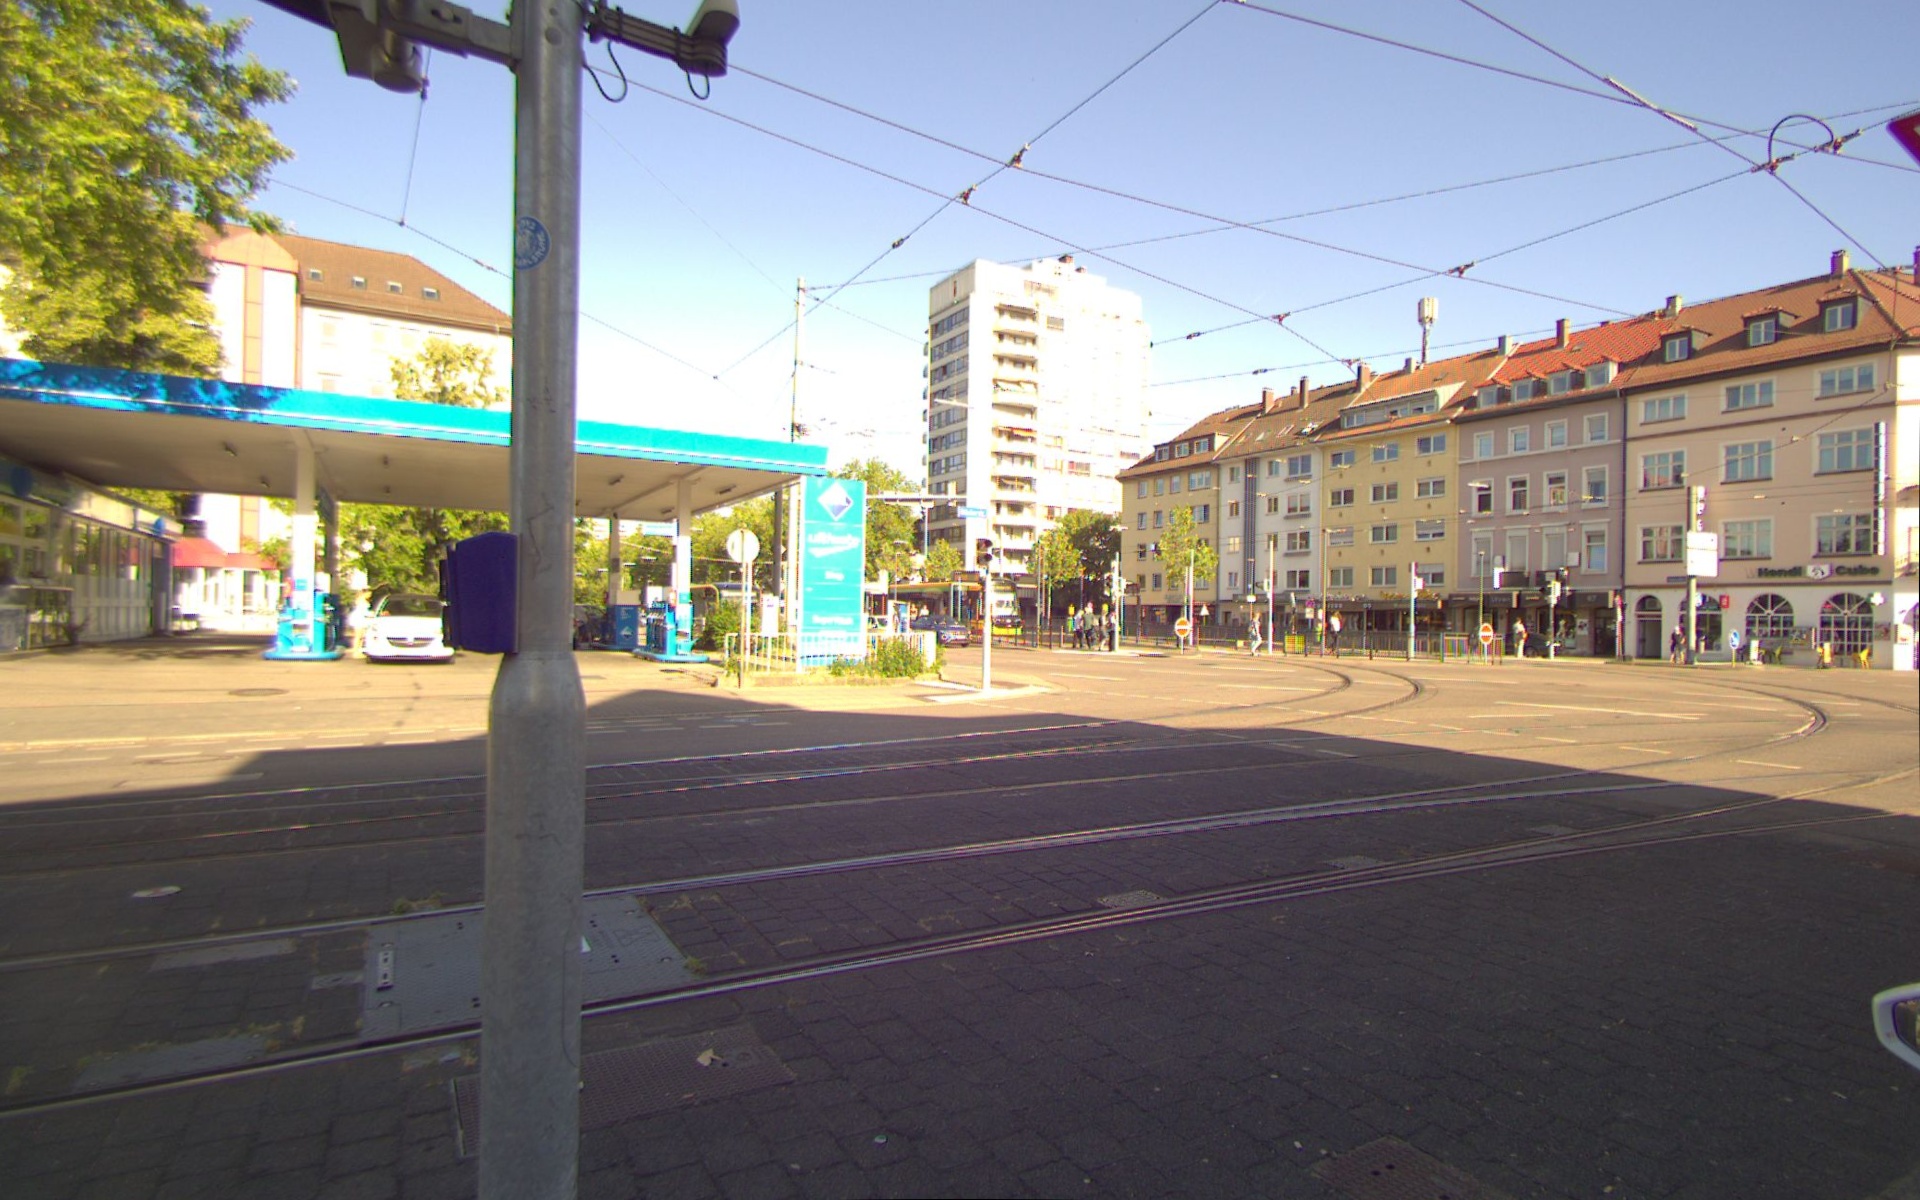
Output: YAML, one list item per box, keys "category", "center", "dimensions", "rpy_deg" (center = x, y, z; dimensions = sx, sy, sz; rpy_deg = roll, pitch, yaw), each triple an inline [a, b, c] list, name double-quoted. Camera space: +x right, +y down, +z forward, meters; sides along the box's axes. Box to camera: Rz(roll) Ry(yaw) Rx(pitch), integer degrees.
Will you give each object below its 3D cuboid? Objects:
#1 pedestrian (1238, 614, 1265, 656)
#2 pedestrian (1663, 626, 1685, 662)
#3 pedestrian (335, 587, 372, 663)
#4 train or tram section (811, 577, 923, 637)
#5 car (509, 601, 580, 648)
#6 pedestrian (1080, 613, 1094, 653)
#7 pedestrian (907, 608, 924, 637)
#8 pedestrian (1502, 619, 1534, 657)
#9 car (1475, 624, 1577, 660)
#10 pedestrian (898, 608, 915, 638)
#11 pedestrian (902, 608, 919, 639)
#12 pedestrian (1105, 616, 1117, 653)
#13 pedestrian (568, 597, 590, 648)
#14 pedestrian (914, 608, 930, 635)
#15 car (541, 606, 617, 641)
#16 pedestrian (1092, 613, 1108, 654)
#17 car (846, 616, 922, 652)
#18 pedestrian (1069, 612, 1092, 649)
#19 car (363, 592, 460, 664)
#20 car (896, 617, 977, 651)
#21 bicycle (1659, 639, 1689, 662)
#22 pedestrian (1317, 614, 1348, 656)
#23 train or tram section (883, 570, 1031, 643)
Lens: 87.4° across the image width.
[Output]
- category: "pedestrian"
  center: [11.269, 1.348, 38.878]
  dimensions: [0.817, 1.598, 0.552]
  rpy_deg: [2, 0, -2]
- category: "pedestrian"
  center: [34.224, 2.128, 48.136]
  dimensions: [0.743, 1.692, 0.579]
  rpy_deg: [2, 0, -30]
- category: "pedestrian"
  center: [-13.890, 0.570, 23.022]
  dimensions: [0.640, 1.724, 0.497]
  rpy_deg: [1, -1, -26]
- category: "train or tram section"
  center: [-6.870, 0.517, 71.145]
  dimensions: [2.907, 3.864, 12.719]
  rpy_deg: [1, -1, -30]
- category: "car"
  center: [-13.548, 0.784, 32.678]
  dimensions: [1.737, 1.461, 3.543]
  rpy_deg: [1, -1, -29]
- category: "pedestrian"
  center: [5.500, 1.439, 43.499]
  dimensions: [0.548, 1.702, 0.761]
  rpy_deg: [1, -1, 6]
- category: "pedestrian"
  center: [-2.635, 1.329, 59.747]
  dimensions: [0.747, 1.756, 0.797]
  rpy_deg: [0, 0, -28]
- category: "pedestrian"
  center: [24.448, 1.668, 44.008]
  dimensions: [0.821, 1.598, 0.847]
  rpy_deg: [2, 0, -20]
- category: "car"
  center: [30.826, 2.290, 54.846]
  dimensions: [2.277, 1.734, 4.350]
  rpy_deg: [2, 0, -27]
- category: "pedestrian"
  center: [-3.154, 1.369, 59.218]
  dimensions: [0.747, 1.756, 0.797]
  rpy_deg: [0, 0, -28]
- category: "pedestrian"
  center: [-2.856, 1.341, 58.168]
  dimensions: [0.747, 1.756, 0.797]
  rpy_deg: [0, 0, -28]
- category: "pedestrian"
  center: [6.154, 1.405, 40.967]
  dimensions: [0.472, 1.525, 0.462]
  rpy_deg: [0, 0, 6]
- category: "pedestrian"
  center: [-13.051, 0.781, 34.401]
  dimensions: [0.491, 1.724, 0.499]
  rpy_deg: [0, -1, 33]
- category: "pedestrian"
  center: [-2.237, 1.243, 58.944]
  dimensions: [0.607, 1.598, 0.827]
  rpy_deg: [0, 0, -27]
- category: "car"
  center: [-16.860, 1.042, 44.603]
  dimensions: [1.722, 1.461, 3.572]
  rpy_deg: [1, -1, 5]
- category: "pedestrian"
  center: [5.856, 1.392, 41.966]
  dimensions: [0.626, 1.666, 0.462]
  rpy_deg: [0, 0, 6]
- category: "car"
  center: [-3.587, 1.552, 46.738]
  dimensions: [1.871, 1.550, 3.963]
  rpy_deg: [1, -1, -33]
- category: "pedestrian"
  center: [5.312, 1.335, 44.350]
  dimensions: [0.867, 1.598, 0.665]
  rpy_deg: [2, 0, -2]
- category: "car"
  center: [-12.197, 0.604, 22.351]
  dimensions: [1.737, 1.461, 3.543]
  rpy_deg: [1, -1, -29]
- category: "car"
  center: [-1.160, 1.616, 48.368]
  dimensions: [1.875, 1.550, 3.955]
  rpy_deg: [1, -2, -39]
- category: "bicycle"
  center: [34.222, 2.424, 48.139]
  dimensions: [1.479, 1.091, 0.570]
  rpy_deg: [2, 0, -30]
- category: "pedestrian"
  center: [14.600, 1.383, 39.375]
  dimensions: [0.821, 1.598, 0.724]
  rpy_deg: [2, 0, -20]
- category: "train or tram section"
  center: [-0.554, 0.423, 59.976]
  dimensions: [2.906, 3.864, 12.952]
  rpy_deg: [1, -1, -29]
